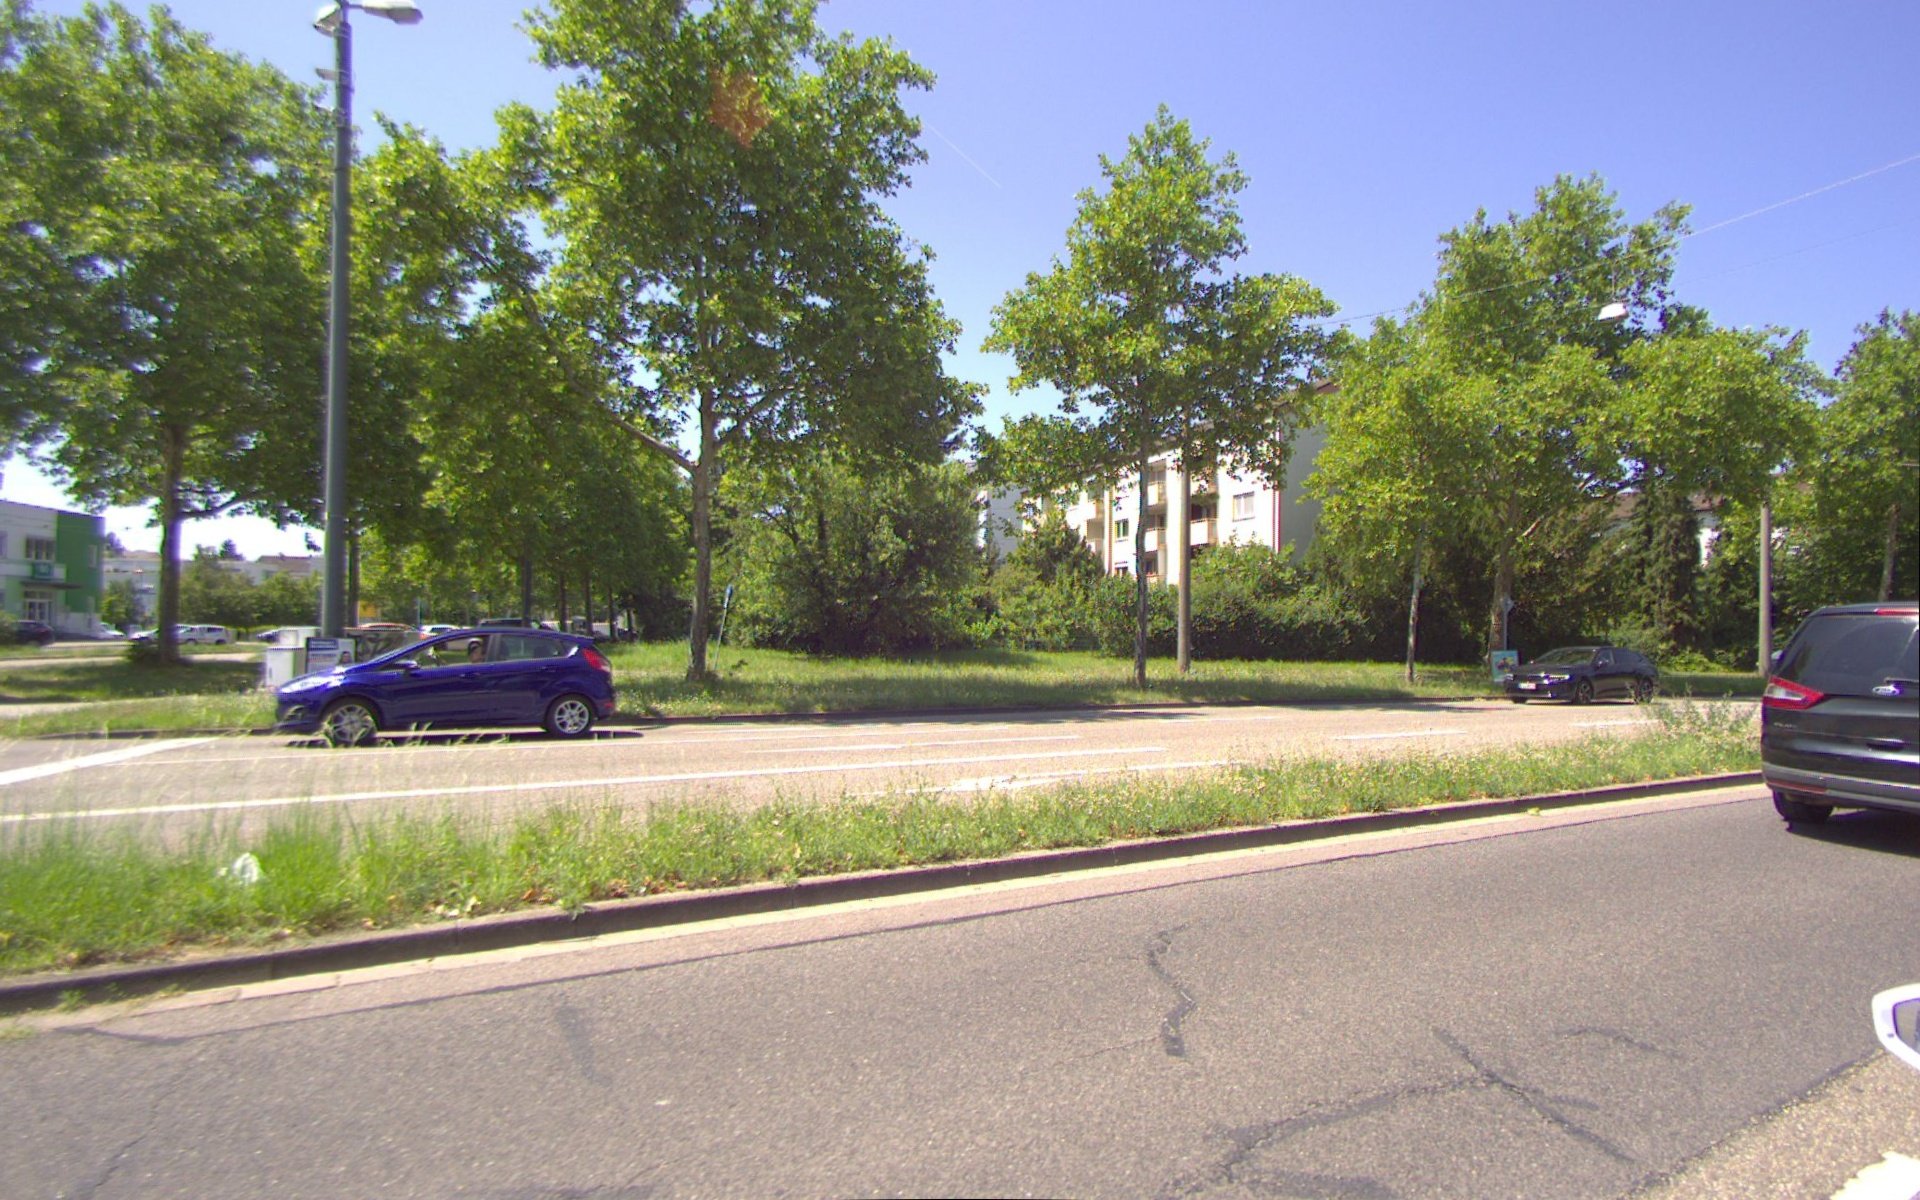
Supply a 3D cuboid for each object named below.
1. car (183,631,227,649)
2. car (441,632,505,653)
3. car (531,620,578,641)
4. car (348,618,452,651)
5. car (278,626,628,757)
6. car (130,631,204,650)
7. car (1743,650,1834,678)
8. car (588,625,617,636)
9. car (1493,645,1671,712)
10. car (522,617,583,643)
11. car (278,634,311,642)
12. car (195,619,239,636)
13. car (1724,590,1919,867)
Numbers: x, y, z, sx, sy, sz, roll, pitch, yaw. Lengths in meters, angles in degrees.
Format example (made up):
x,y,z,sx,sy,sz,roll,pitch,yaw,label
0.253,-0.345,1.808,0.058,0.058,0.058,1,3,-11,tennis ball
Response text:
x,y,z,sx,sy,sz,roll,pitch,yaw,label
-54.230,2.886,72.196,2.436,1.221,1.107,3,-2,-42,car
-27.186,2.372,56.101,3.003,1.099,1.383,1,-2,-18,car
-30.662,2.274,75.964,3.010,1.509,1.475,2,-1,-13,car
-26.785,1.667,48.181,4.068,1.415,1.455,2,-1,-15,car
-6.501,1.139,13.107,3.825,1.474,1.712,2,-4,-31,car
-54.396,2.795,69.018,3.854,1.221,1.349,2,-2,-35,car
44.632,3.429,54.114,3.934,1.411,1.882,1,-2,-16,car
-35.750,3.063,100.485,2.674,1.007,1.007,1,-2,-13,car
15.715,1.933,25.348,4.535,1.526,1.805,2,-2,-28,car
-27.396,2.040,67.661,3.708,1.630,1.618,2,-2,-20,car
-56.692,3.211,85.592,2.267,0.652,0.768,2,-2,-35,car
-55.579,2.033,75.146,2.594,1.221,1.107,3,-2,-42,car
8.081,0.896,7.785,4.595,1.779,1.845,2,-1,-31,car
